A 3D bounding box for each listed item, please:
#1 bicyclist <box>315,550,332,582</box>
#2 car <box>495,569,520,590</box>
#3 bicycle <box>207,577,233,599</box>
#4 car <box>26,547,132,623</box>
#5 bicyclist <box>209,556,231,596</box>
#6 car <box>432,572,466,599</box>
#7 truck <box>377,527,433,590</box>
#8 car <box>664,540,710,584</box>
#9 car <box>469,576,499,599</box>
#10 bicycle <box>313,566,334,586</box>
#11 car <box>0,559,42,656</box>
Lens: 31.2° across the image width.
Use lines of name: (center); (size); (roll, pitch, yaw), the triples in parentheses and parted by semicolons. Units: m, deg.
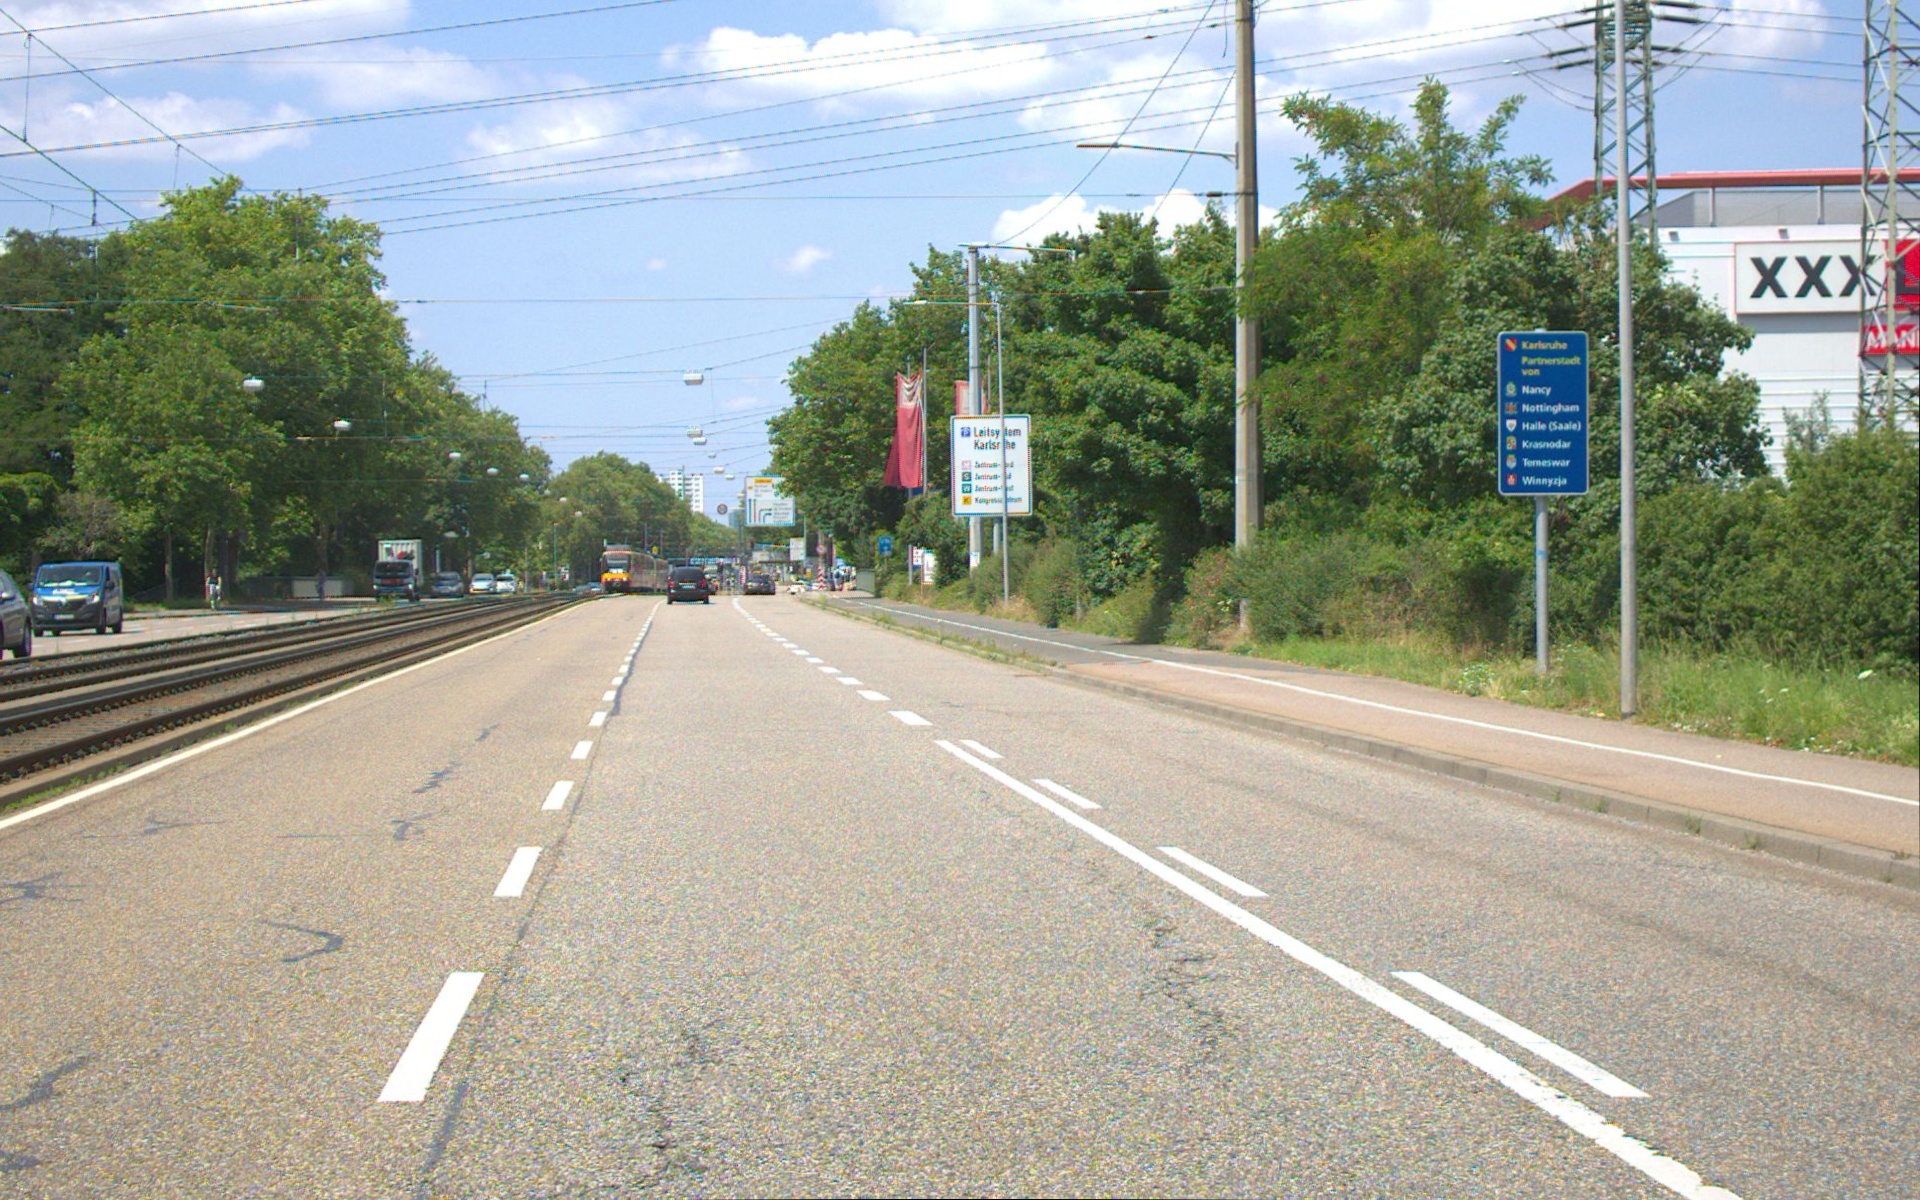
bicyclist: (-31.987, -1.698, 172.809); (0.623, 1.612, 1.062); (1, 0, 1)
car: (-33.509, -1.510, 254.570); (1.636, 1.431, 3.722); (-2, 1, -5)
bicycle: (-30.344, -0.492, 141.021); (0.650, 0.856, 2.120); (1, 1, -1)
car: (-23.618, -0.419, 92.306); (1.857, 1.921, 5.009); (-2, 1, -5)
bicyclist: (-30.338, -1.004, 140.999); (0.650, 1.614, 1.155); (1, 1, -1)
car: (-30.212, -0.874, 203.443); (1.752, 1.530, 3.958); (-2, 1, -5)
truck: (-29.190, -2.214, 181.043); (2.249, 3.225, 6.042); (-1, 1, -3)
car: (-11.643, -1.595, 146.450); (1.899, 1.799, 3.977); (1, 0, -5)
car: (-32.277, -0.852, 233.168); (1.636, 1.417, 4.128); (-2, 1, -4)
bicycle: (-32.004, -1.211, 172.875); (0.623, 0.976, 2.054); (2, 1, 1)
car: (-17.343, 0.147, 59.865); (1.801, 1.619, 4.495); (-2, 1, -5)
